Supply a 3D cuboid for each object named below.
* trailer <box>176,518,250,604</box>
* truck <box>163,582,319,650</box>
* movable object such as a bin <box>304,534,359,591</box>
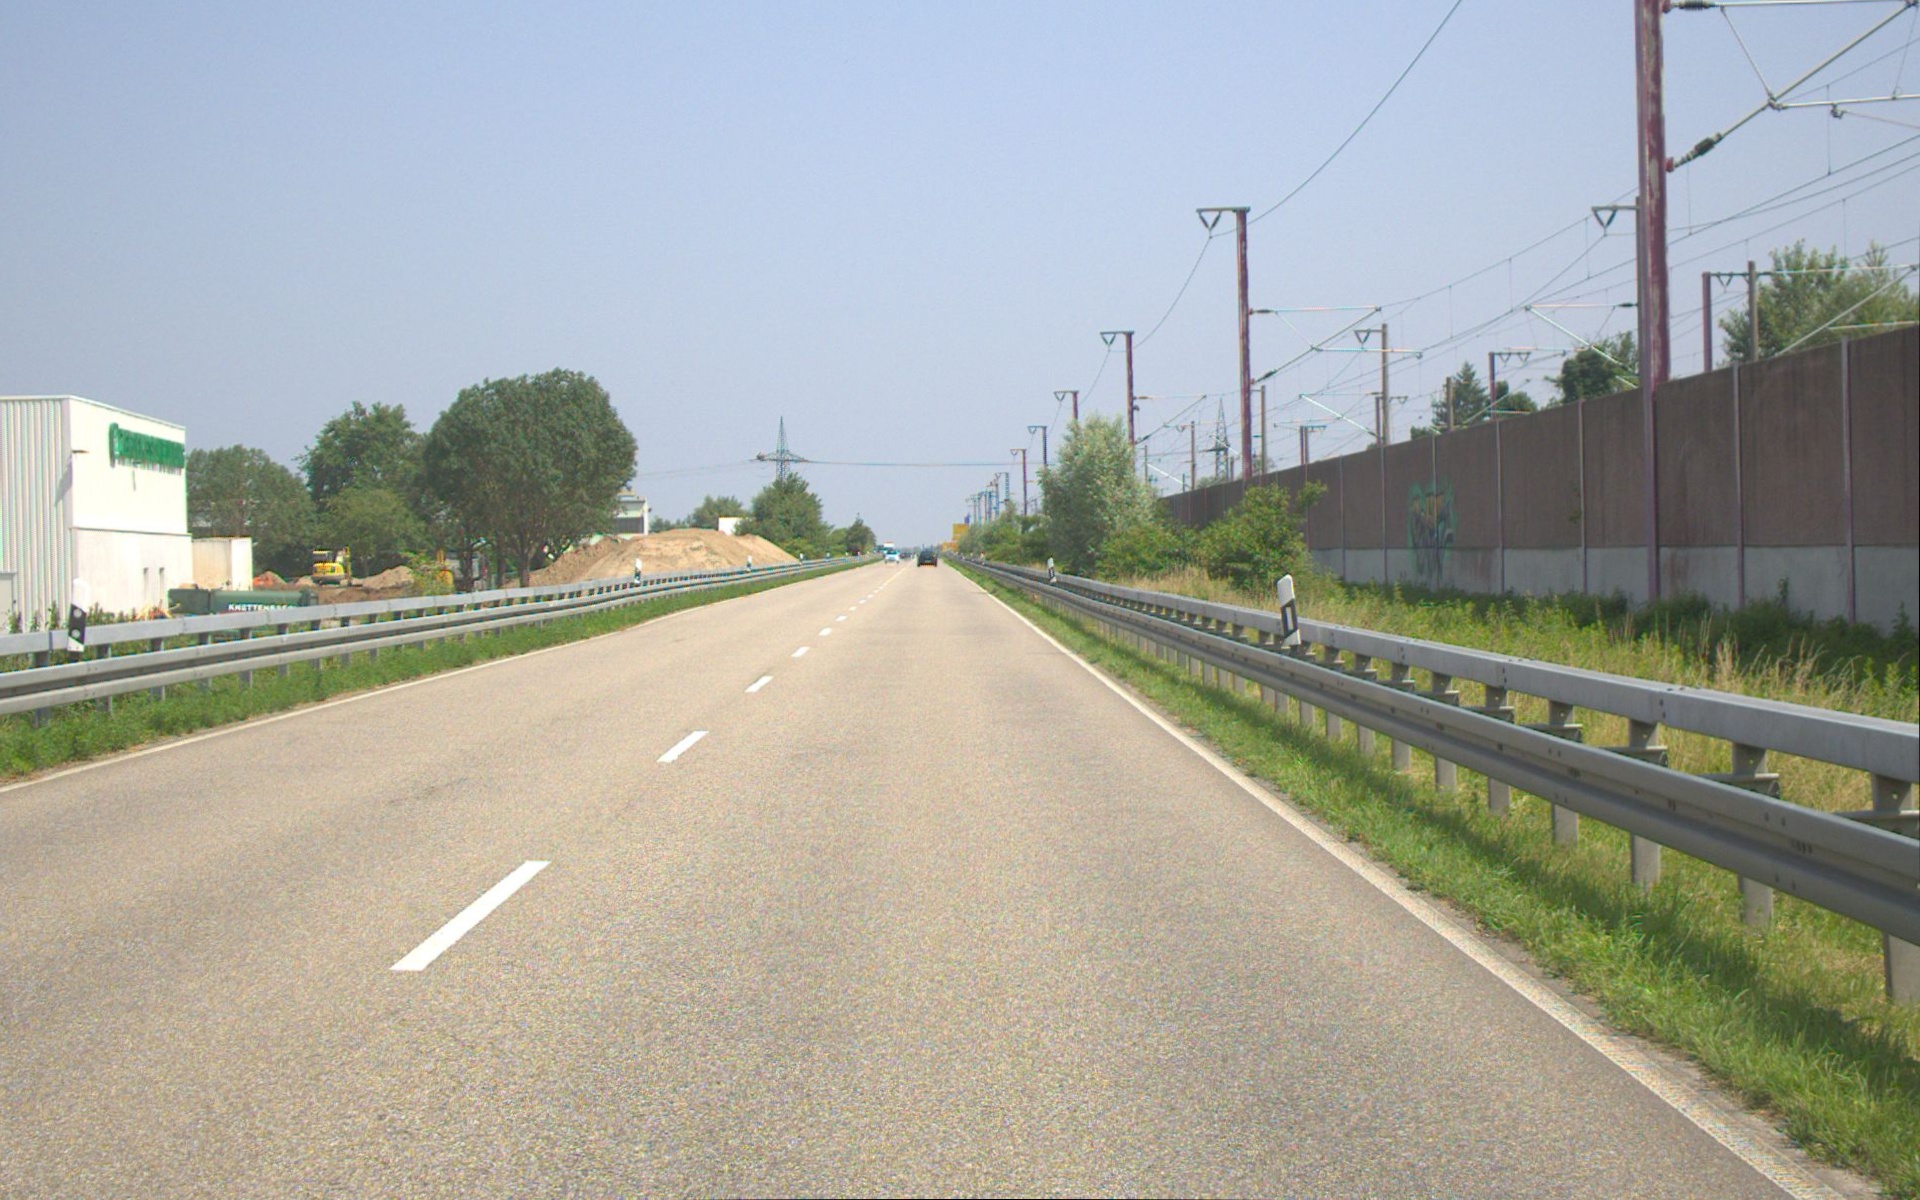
[{"bbox_3d":[-38.442,-2.049,177.101,2.678,4.317,7.954,0,2,-5],"label":"trailer"},{"bbox_3d":[-25.157,0.550,120.455,5.008,2.325,2.233,0,1,0],"label":"truck"},{"bbox_3d":[-41.997,-2.488,229.722,2.620,3.640,5.462,-3,1,-19],"label":"movable object such as a bin"}]
